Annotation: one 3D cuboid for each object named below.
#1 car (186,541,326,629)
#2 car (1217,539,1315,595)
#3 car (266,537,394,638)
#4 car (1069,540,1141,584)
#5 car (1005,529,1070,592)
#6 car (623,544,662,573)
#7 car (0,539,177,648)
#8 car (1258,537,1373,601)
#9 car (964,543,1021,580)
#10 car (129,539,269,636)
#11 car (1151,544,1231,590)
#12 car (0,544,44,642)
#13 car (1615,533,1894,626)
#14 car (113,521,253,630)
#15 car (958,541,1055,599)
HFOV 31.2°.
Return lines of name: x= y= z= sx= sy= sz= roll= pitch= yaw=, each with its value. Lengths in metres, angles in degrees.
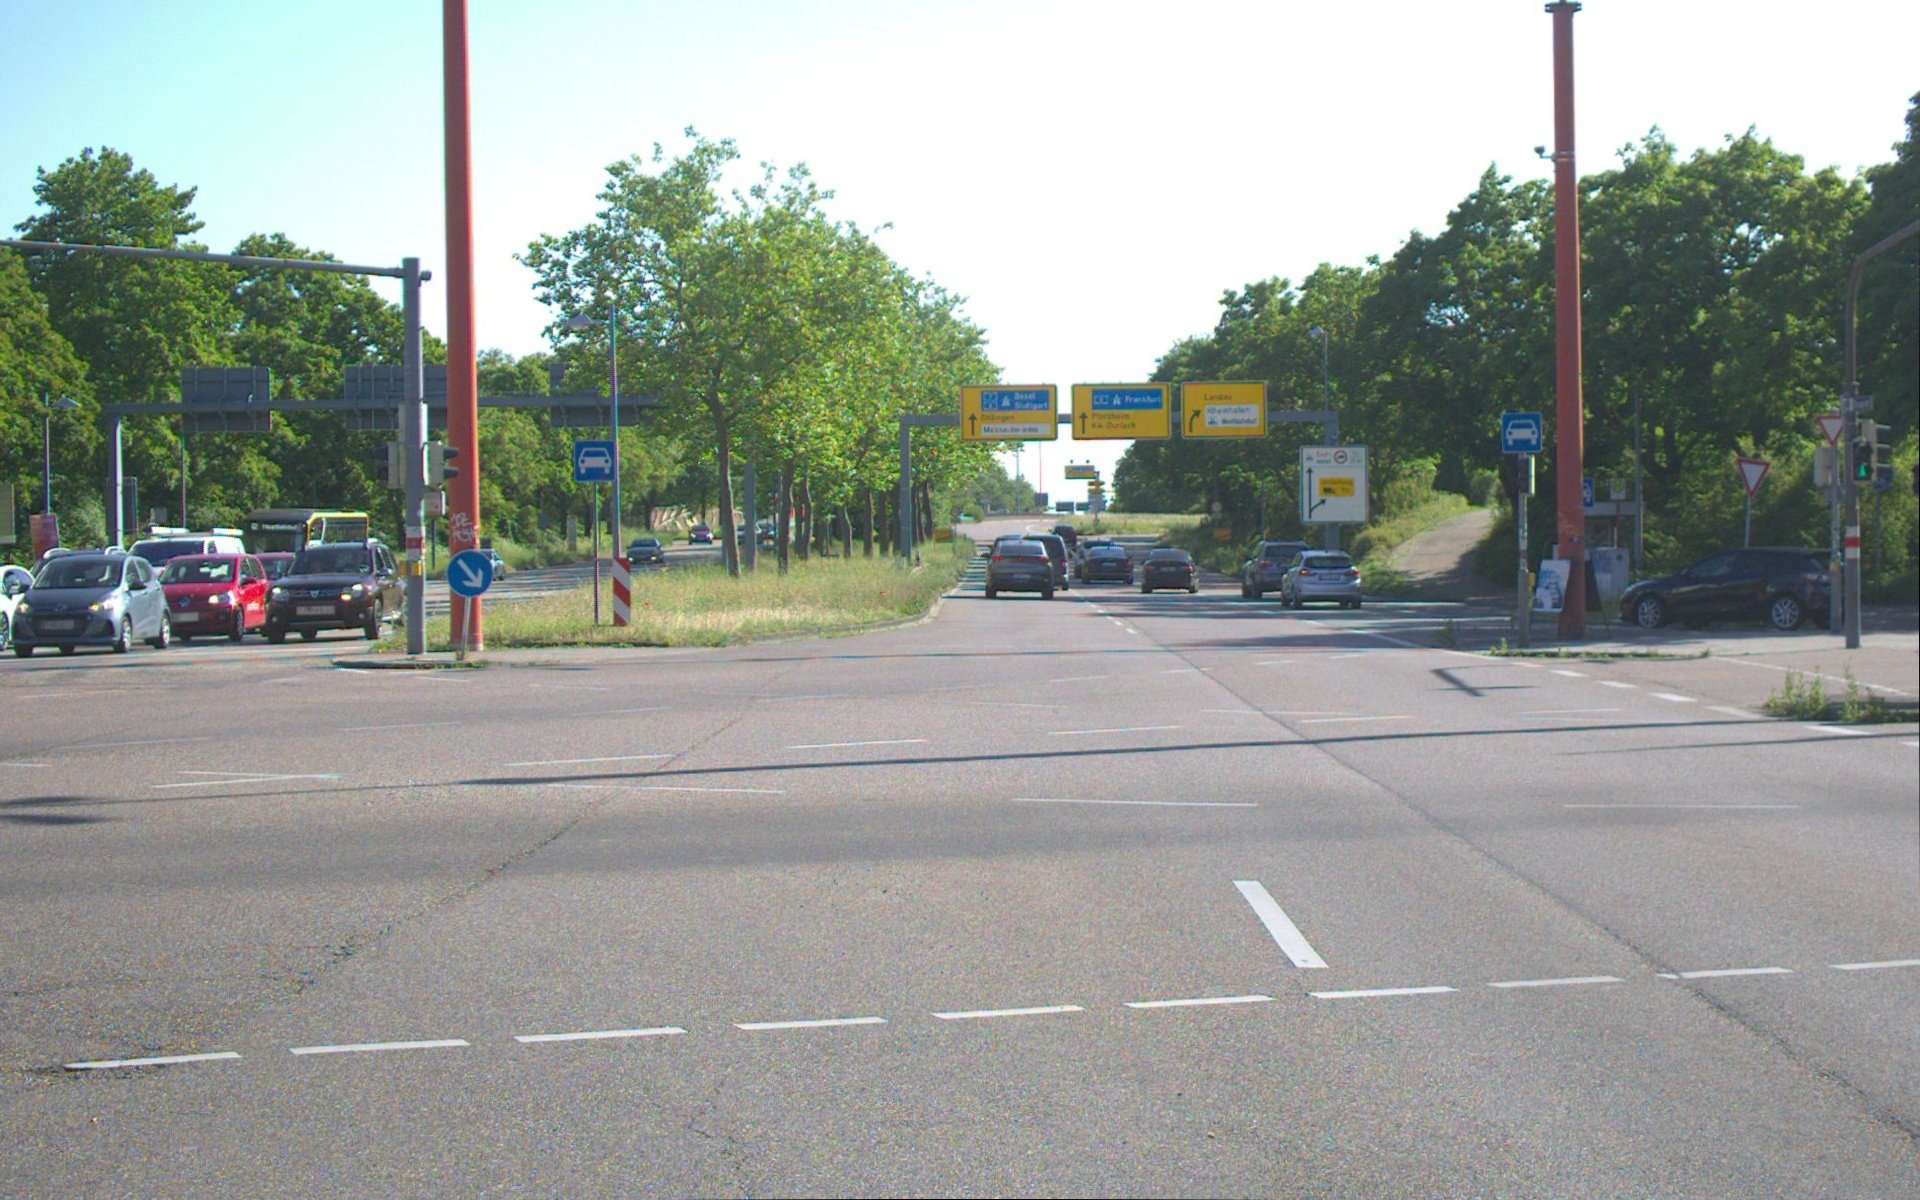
car: x=-13.117 y=-0.298 z=64.254 sx=1.993 sy=1.568 sz=4.121 roll=-1 pitch=1 yaw=-4
car: x=8.854 y=-0.964 z=99.684 sx=2.158 sy=1.568 sz=4.281 roll=-1 pitch=1 yaw=-4
car: x=-10.247 y=-0.230 z=56.155 sx=1.876 sy=1.568 sz=4.122 roll=-1 pitch=1 yaw=-8
car: x=5.322 y=-1.416 z=126.858 sx=2.158 sy=1.568 sz=4.281 roll=-1 pitch=1 yaw=-4
car: x=2.543 y=-1.306 z=113.069 sx=1.993 sy=2.007 sz=4.000 roll=0 pitch=1 yaw=-1
car: x=-17.803 y=-2.354 z=192.894 sx=1.993 sy=1.568 sz=4.121 roll=-1 pitch=1 yaw=-3
car: x=-13.253 y=-0.133 z=52.173 sx=1.993 sy=1.568 sz=4.121 roll=-1 pitch=1 yaw=-3
car: x=8.966 y=-0.793 z=87.020 sx=2.158 sy=1.568 sz=4.281 roll=-1 pitch=1 yaw=-4
car: x=1.395 y=-1.678 z=149.686 sx=2.158 sy=1.568 sz=4.281 roll=-1 pitch=1 yaw=-4
car: x=-12.899 y=-0.237 z=58.475 sx=1.993 sy=1.568 sz=4.122 roll=-1 pitch=1 yaw=-8
car: x=7.336 y=-1.067 z=109.423 sx=1.953 sy=1.437 sz=4.281 roll=-1 pitch=1 yaw=-4
car: x=-16.489 y=-0.119 z=57.043 sx=1.993 sy=1.568 sz=4.122 roll=-2 pitch=1 yaw=-8
car: x=13.994 y=-0.374 z=60.650 sx=4.277 sy=1.568 sz=2.160 roll=0 pitch=1 yaw=43
car: x=-16.115 y=-0.531 z=71.515 sx=2.062 sy=2.185 sz=4.379 roll=-1 pitch=1 yaw=-2
car: x=1.273 y=-0.847 z=95.433 sx=2.245 sy=1.568 sz=4.282 roll=-1 pitch=1 yaw=-5
